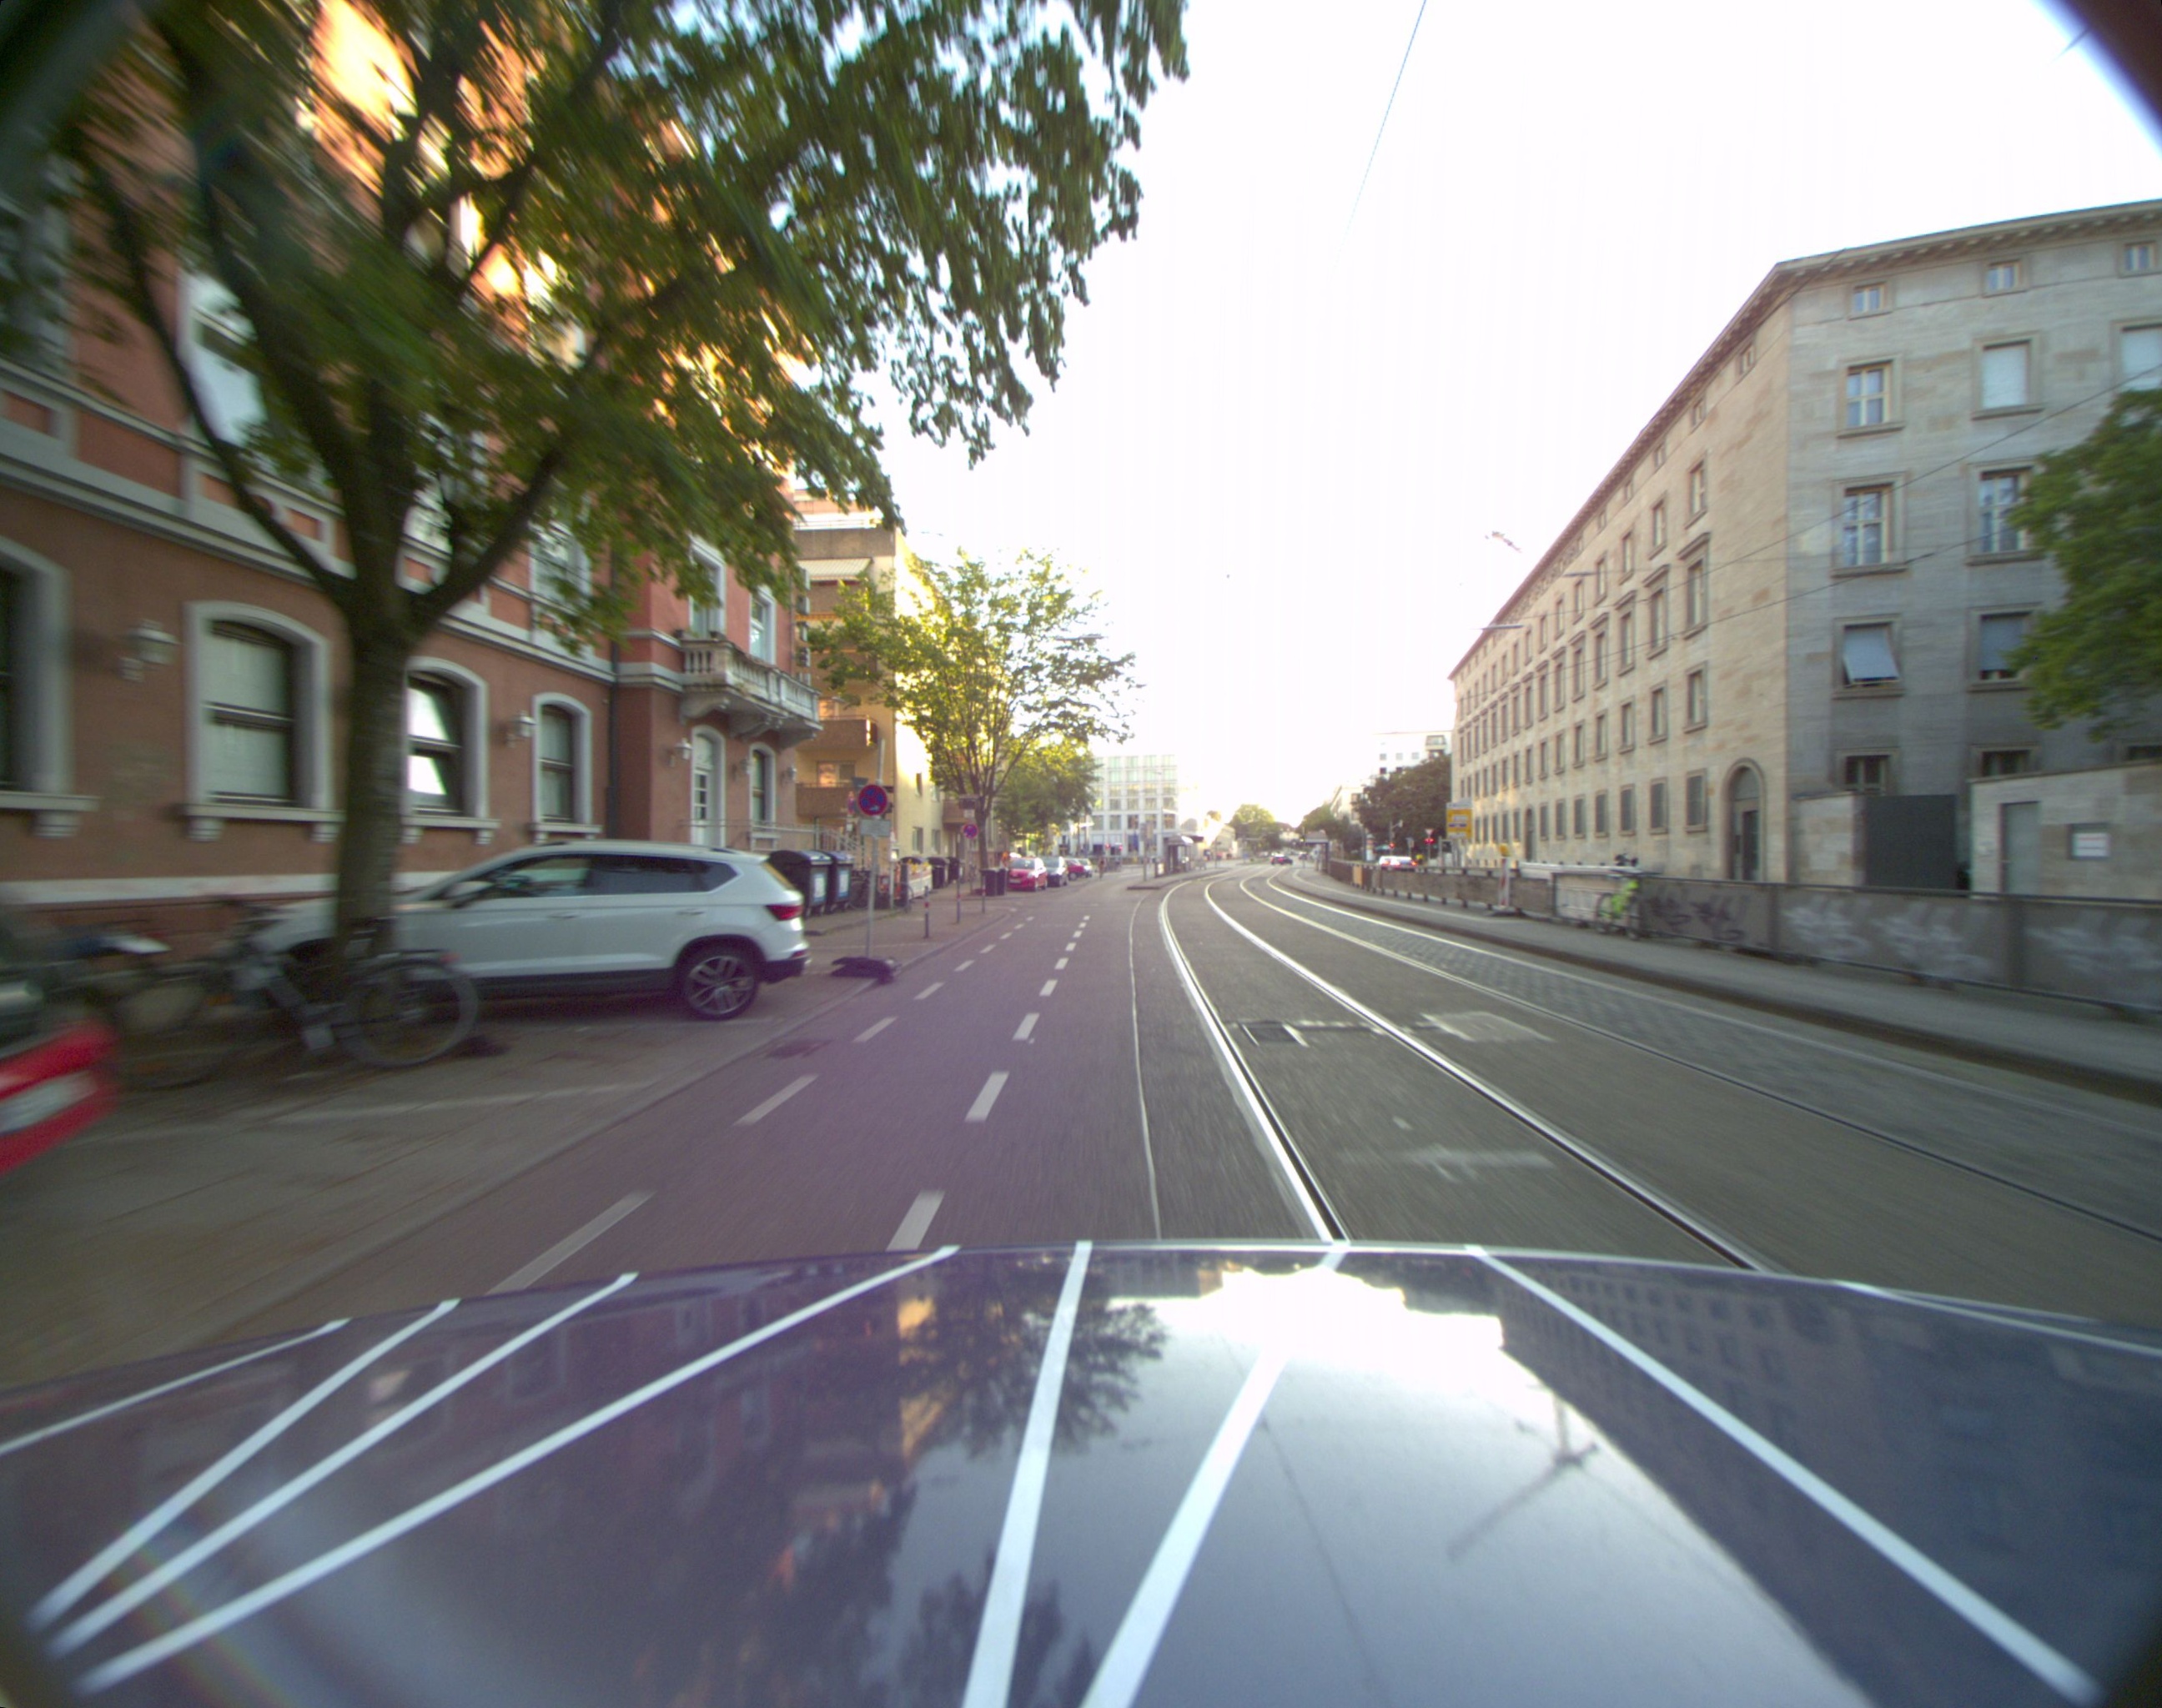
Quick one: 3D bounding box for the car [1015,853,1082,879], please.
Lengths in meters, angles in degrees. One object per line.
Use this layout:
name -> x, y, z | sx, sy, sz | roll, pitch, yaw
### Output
car -> -2.224, 0.814, 52.354 | 4.215, 1.715, 1.718 | -1, 0, -26

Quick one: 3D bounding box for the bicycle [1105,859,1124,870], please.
bicycle -> 3.406, 1.045, 76.583 | 1.757, 1.068, 0.745 | -1, 0, 18

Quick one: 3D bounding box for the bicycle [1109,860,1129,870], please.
bicycle -> 3.884, 1.114, 77.762 | 1.861, 1.068, 0.745 | -1, 0, 34

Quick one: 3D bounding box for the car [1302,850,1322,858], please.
car -> 51.168, 0.038, 168.527 | 1.889, 1.654, 4.337 | -1, 0, -23

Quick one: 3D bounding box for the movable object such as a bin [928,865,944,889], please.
movable object such as a bin -> -6.483, 1.008, 34.022 | 0.555, 1.041, 0.571 | -1, 0, 2

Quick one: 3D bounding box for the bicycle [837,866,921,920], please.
bicycle -> -5.004, 0.943, 18.852 | 1.922, 1.259, 0.600 | 0, 1, -32

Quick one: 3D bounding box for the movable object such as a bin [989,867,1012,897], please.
movable object such as a bin -> -3.126, 1.071, 29.519 | 0.713, 1.147, 0.589 | -1, 0, 15

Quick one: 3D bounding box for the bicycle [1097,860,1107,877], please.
bicycle -> 1.487, 1.004, 52.868 | 0.609, 1.108, 2.087 | -1, 0, 4

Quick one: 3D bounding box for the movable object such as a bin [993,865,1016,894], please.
movable object such as a bin -> -3.121, 1.042, 31.042 | 0.624, 1.147, 0.714 | -1, 1, -44

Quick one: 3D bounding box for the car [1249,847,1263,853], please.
car -> 51.354, -1.084, 223.298 | 3.802, 1.639, 1.866 | -1, 0, 16

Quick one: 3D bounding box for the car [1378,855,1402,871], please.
car -> 28.458, 0.826, 70.082 | 1.644, 1.419, 4.237 | 1, 0, 16

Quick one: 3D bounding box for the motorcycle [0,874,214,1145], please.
motorcycle -> -6.192, 0.839, 3.922 | 0.874, 1.384, 2.081 | 2, 1, 17

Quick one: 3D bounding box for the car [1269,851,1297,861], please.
car -> 28.842, 0.239, 108.288 | 4.181, 1.412, 1.694 | -1, 1, -39

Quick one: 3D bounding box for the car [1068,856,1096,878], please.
car -> 0.088, 0.957, 58.192 | 1.683, 1.544, 4.002 | 2, 0, 6

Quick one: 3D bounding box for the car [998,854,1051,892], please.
car -> -2.465, 0.805, 34.076 | 1.567, 1.527, 3.695 | 1, 0, 8

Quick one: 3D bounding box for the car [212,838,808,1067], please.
car -> -4.741, 0.753, 7.020 | 3.961, 1.617, 1.670 | 2, -1, -27

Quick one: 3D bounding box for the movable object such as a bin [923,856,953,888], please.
movable object such as a bin -> -6.882, 0.849, 36.668 | 1.143, 1.493, 1.271 | -1, 0, 3

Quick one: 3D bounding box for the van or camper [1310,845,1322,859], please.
van or camper -> 46.613, -0.354, 150.578 | 2.107, 2.665, 4.718 | -1, -2, 18

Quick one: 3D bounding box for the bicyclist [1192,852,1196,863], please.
bicyclist -> 18.252, 0.568, 122.244 | 0.540, 1.626, 0.598 | 0, 1, 17

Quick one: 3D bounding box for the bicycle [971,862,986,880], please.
bicycle -> -6.526, 1.078, 48.372 | 0.652, 1.068, 1.556 | -1, 0, 3

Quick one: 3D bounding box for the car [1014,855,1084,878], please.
car -> -2.087, 0.793, 49.550 | 4.216, 1.445, 1.642 | -1, 0, -27

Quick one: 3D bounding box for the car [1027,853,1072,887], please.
car -> -1.605, 0.797, 39.794 | 1.747, 1.622, 4.090 | 1, 0, 6

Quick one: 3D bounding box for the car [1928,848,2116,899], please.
car -> 27.245, 0.553, 22.112 | 3.180, 1.411, 1.480 | -1, 0, 16

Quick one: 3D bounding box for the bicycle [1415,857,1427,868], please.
bicycle -> 30.152, 0.753, 67.441 | 0.742, 1.011, 1.763 | -1, 0, 17

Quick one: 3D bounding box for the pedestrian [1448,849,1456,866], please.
pedestrian -> 37.567, 0.336, 76.967 | 0.696, 1.700, 0.647 | -1, 1, 19

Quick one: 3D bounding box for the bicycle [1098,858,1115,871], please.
bicycle -> 2.455, 1.015, 73.376 | 1.528, 1.156, 0.745 | -1, 0, 18

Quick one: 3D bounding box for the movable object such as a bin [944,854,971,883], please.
movable object such as a bin -> -6.686, 0.783, 41.112 | 1.116, 1.493, 1.482 | -1, 0, 3

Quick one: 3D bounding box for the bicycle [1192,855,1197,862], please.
bicycle -> 18.251, 0.696, 122.263 | 0.539, 1.045, 1.763 | -1, 0, 17

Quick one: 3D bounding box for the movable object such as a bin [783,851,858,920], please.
movable object such as a bin -> -5.919, 0.688, 17.374 | 1.143, 1.493, 1.399 | -1, 0, 3

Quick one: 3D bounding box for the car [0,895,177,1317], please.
car -> -5.690, 0.877, 1.921 | 3.962, 1.468, 1.826 | 2, -1, -30

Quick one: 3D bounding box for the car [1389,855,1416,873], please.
car -> 26.946, 0.840, 63.782 | 1.644, 1.419, 3.709 | 1, 1, 16

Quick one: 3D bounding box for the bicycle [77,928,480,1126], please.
bicycle -> -4.896, 1.028, 4.765 | 1.671, 1.068, 0.463 | 3, 0, -21

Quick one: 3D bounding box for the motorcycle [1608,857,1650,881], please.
motorcycle -> 25.091, 0.661, 34.835 | 0.699, 1.068, 2.657 | 0, 0, 16

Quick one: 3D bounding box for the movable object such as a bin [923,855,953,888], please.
movable object such as a bin -> -6.554, 0.802, 34.977 | 1.074, 1.493, 1.319 | -1, 0, 1

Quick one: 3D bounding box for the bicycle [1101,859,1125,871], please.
bicycle -> 3.250, 1.089, 76.899 | 2.233, 1.125, 0.745 | 0, 1, 18

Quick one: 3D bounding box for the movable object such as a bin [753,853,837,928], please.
movable object such as a bin -> -5.961, 0.727, 15.940 | 1.143, 1.493, 1.399 | -1, 0, 3

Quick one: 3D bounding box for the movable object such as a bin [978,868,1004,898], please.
movable object such as a bin -> -3.430, 1.102, 28.914 | 0.794, 1.147, 0.589 | -1, 0, 15

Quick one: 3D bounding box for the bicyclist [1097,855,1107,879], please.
bicyclist -> 1.473, 0.882, 52.726 | 0.610, 1.626, 0.597 | -1, 0, 4

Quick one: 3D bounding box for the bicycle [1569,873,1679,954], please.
bicycle -> 8.207, 0.858, 11.599 | 0.463, 1.069, 2.023 | 0, 0, 7

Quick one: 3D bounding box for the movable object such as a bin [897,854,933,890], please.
movable object such as a bin -> -7.161, 0.775, 32.898 | 1.143, 1.493, 1.598 | -1, 0, 3

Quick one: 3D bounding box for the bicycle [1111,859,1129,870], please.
bicycle -> 3.835, 1.030, 74.293 | 1.553, 1.068, 0.745 | -1, 0, 18

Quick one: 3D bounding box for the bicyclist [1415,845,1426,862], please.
bicyclist -> 30.186, -0.034, 67.558 | 0.757, 1.432, 0.598 | -1, 0, 17
